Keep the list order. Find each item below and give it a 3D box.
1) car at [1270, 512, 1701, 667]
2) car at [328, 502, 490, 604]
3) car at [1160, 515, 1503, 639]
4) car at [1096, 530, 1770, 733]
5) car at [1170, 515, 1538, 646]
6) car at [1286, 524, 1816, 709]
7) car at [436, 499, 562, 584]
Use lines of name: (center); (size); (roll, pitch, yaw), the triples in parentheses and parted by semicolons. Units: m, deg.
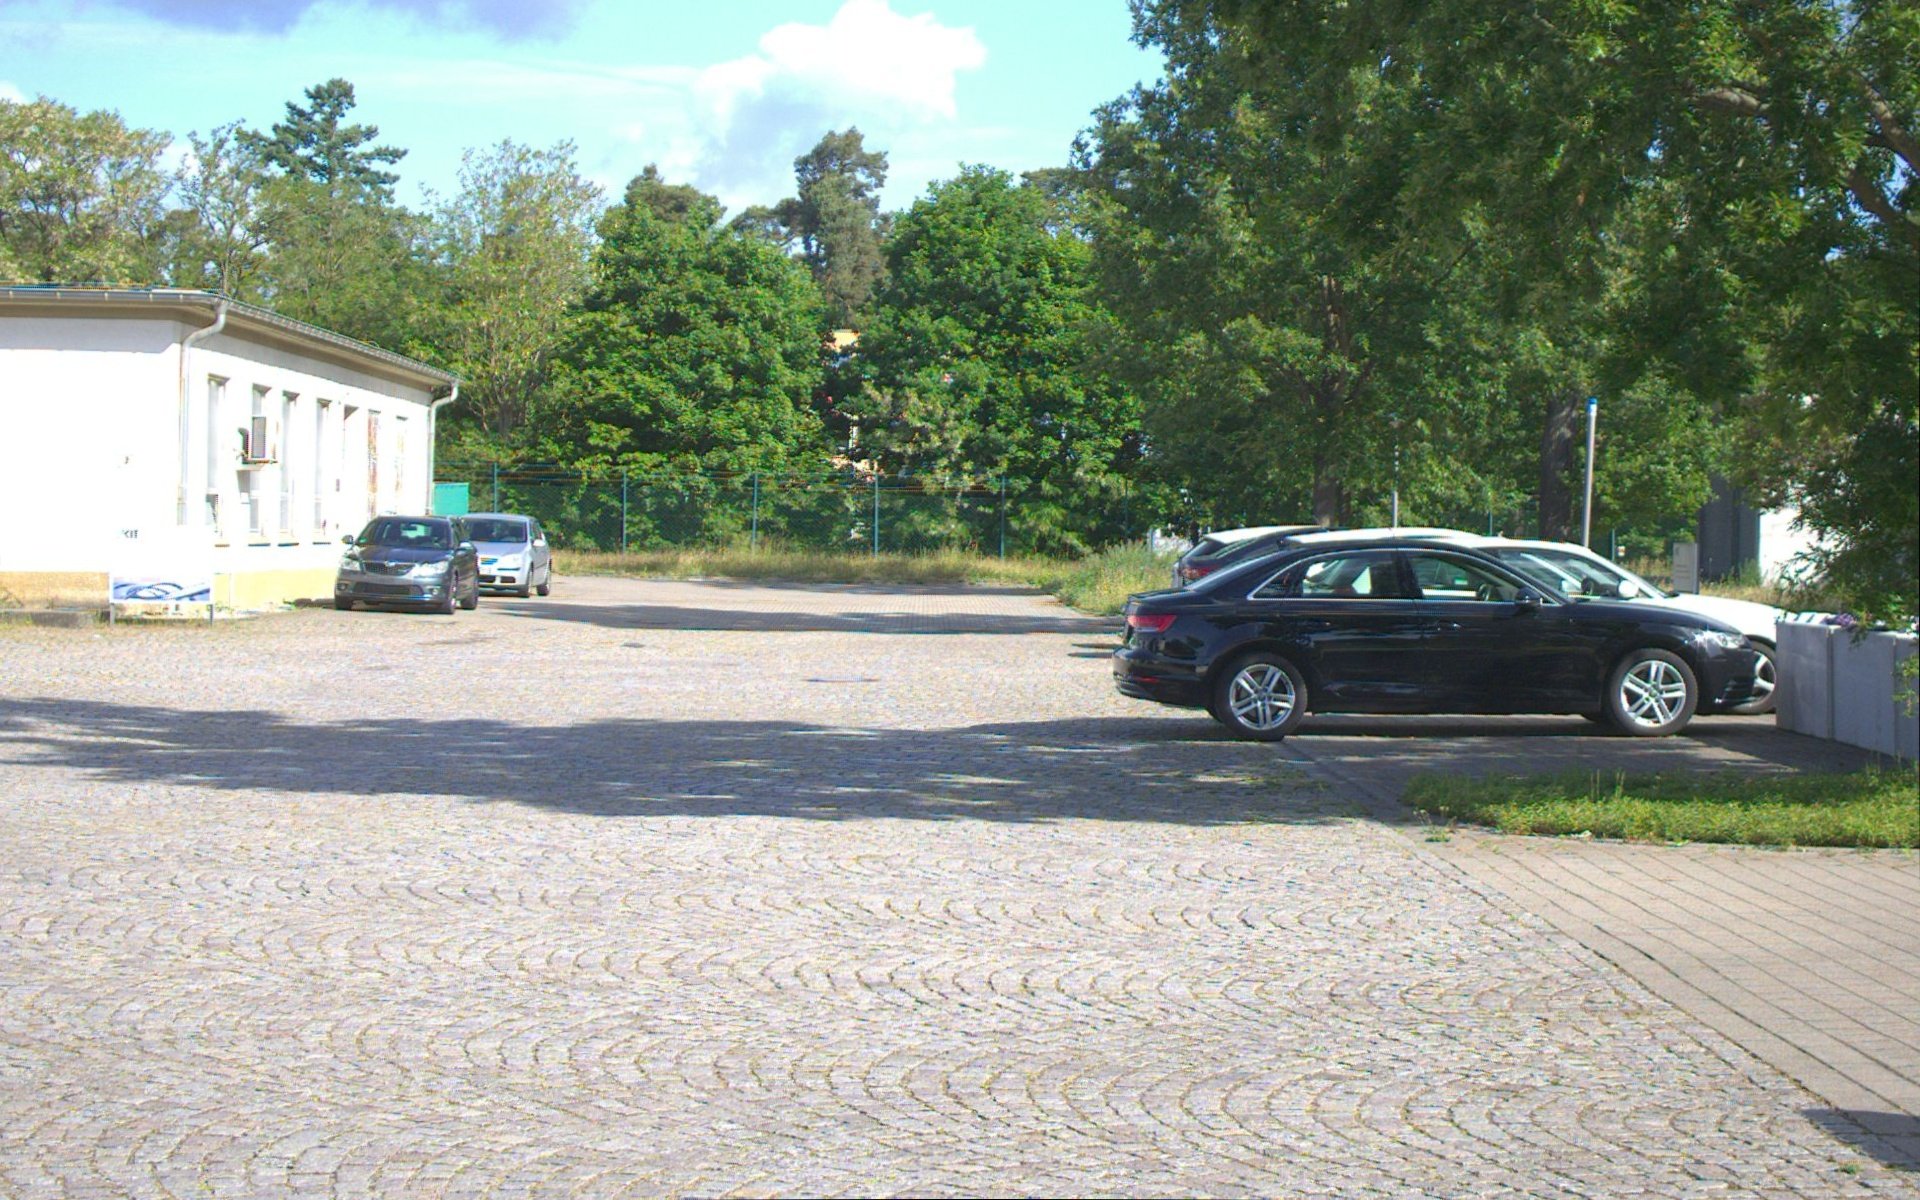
car: (5.033, -0.121, 33.276); (3.912, 1.441, 1.756); (0, 1, 1)
car: (-8.303, -0.729, 52.081); (1.763, 1.430, 3.992); (2, 1, 0)
car: (4.387, -0.293, 41.023); (3.912, 1.430, 1.796); (0, 1, 1)
car: (3.417, 0.204, 25.439); (4.718, 1.418, 1.757); (0, 1, -1)
car: (4.354, -0.228, 38.378); (3.912, 1.412, 1.692); (0, 1, 1)
car: (4.765, 0.115, 28.171); (4.138, 1.455, 1.691); (0, 1, 5)
car: (-8.308, -1.069, 62.163); (1.687, 1.430, 3.987); (2, 1, 0)
